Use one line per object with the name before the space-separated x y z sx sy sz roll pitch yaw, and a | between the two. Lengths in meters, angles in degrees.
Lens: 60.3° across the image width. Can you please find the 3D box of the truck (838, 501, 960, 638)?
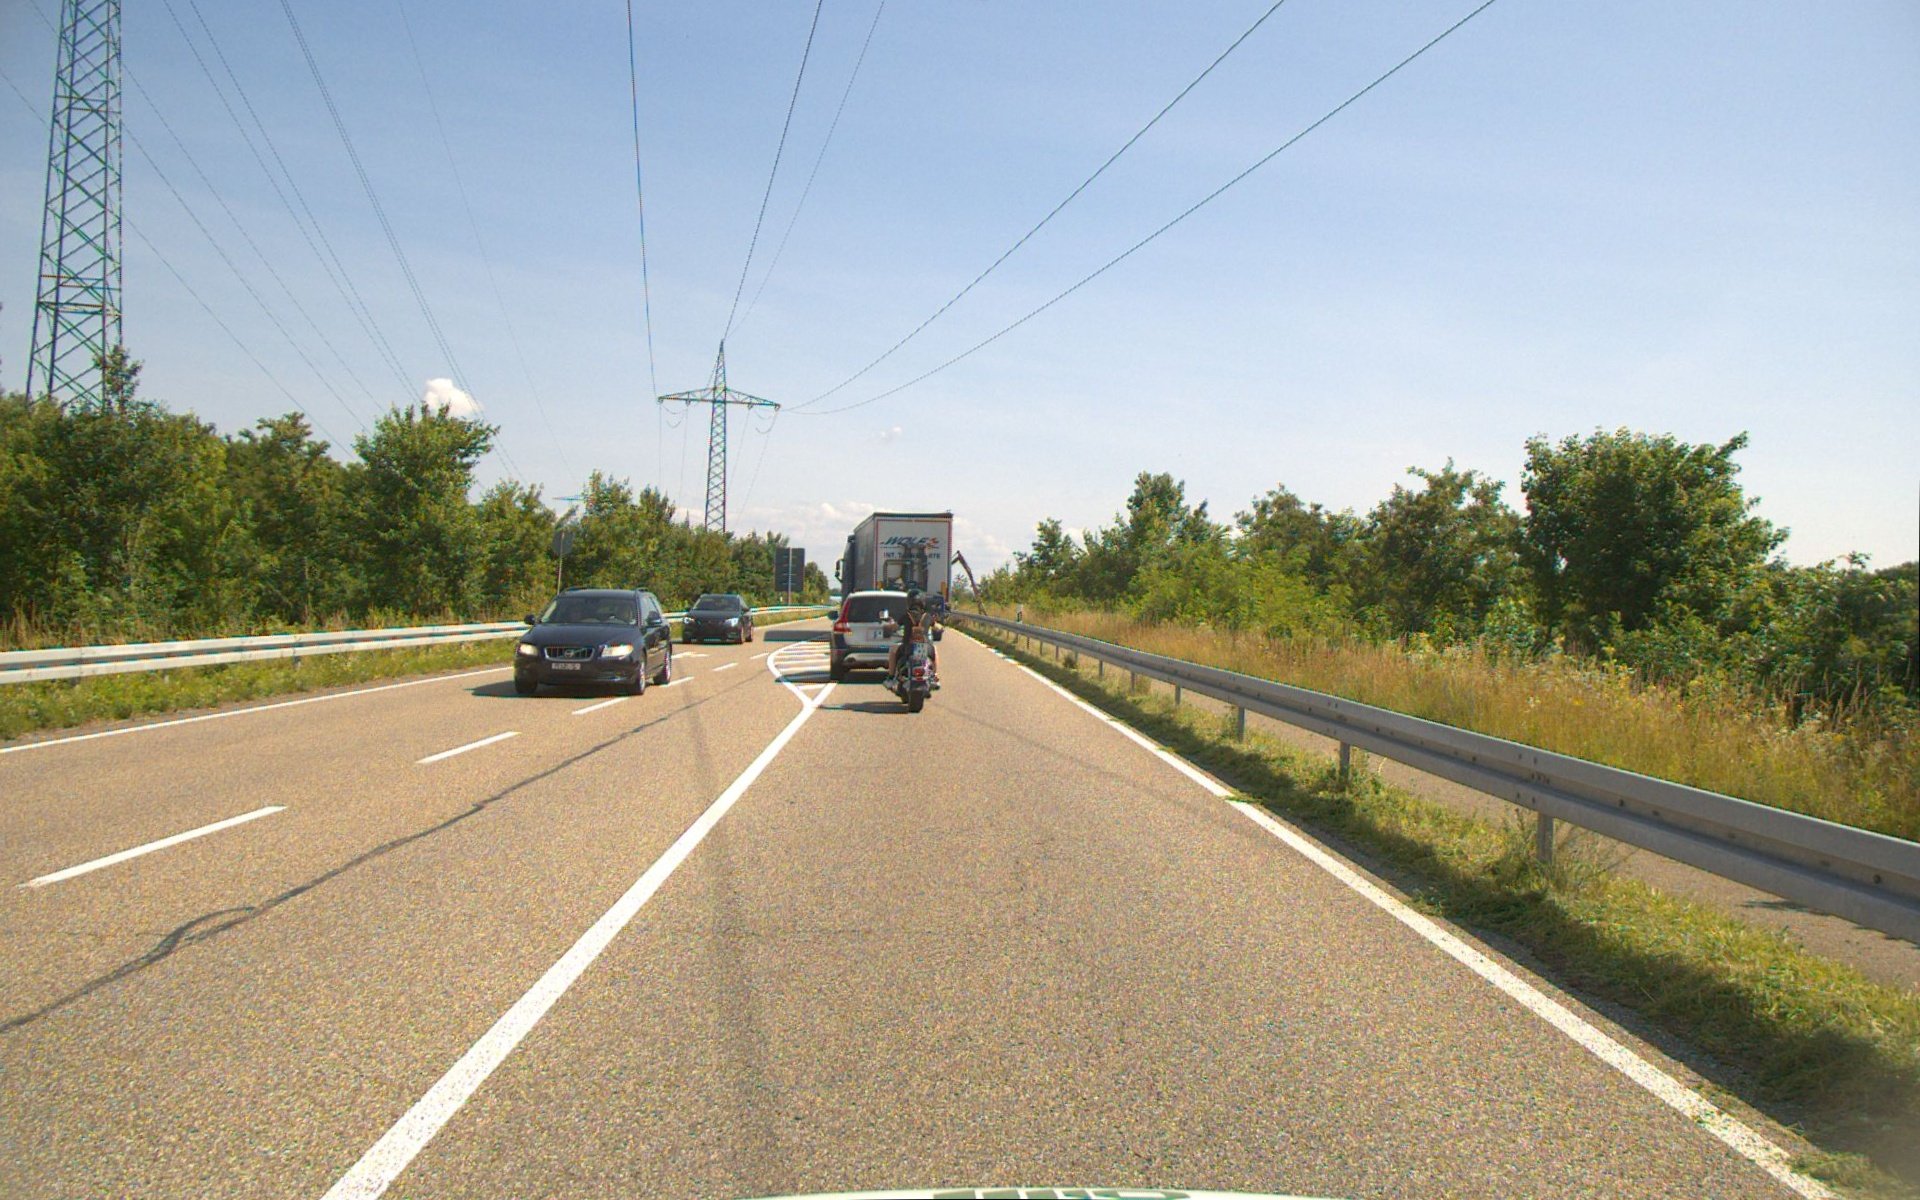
truck | -2.461 -1.005 59.712 2.912 4.260 14.796 1 0 -8

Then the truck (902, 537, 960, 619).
truck | -1.463 -1.036 80.280 2.561 3.776 6.773 1 0 -3

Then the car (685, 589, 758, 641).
car | -7.065 0.420 49.283 1.626 1.467 4.213 1 0 -1

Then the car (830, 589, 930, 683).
car | -1.400 0.601 29.727 1.666 1.563 3.498 1 0 -2

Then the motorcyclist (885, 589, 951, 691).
motorcyclist | -0.566 0.514 21.852 0.820 1.303 0.918 1 0 -4

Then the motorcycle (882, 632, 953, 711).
motorcycle | -0.586 0.919 21.869 0.842 0.931 2.226 0 0 -4

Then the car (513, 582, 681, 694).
car | -5.379 0.517 25.040 1.692 1.517 4.421 1 0 -2
